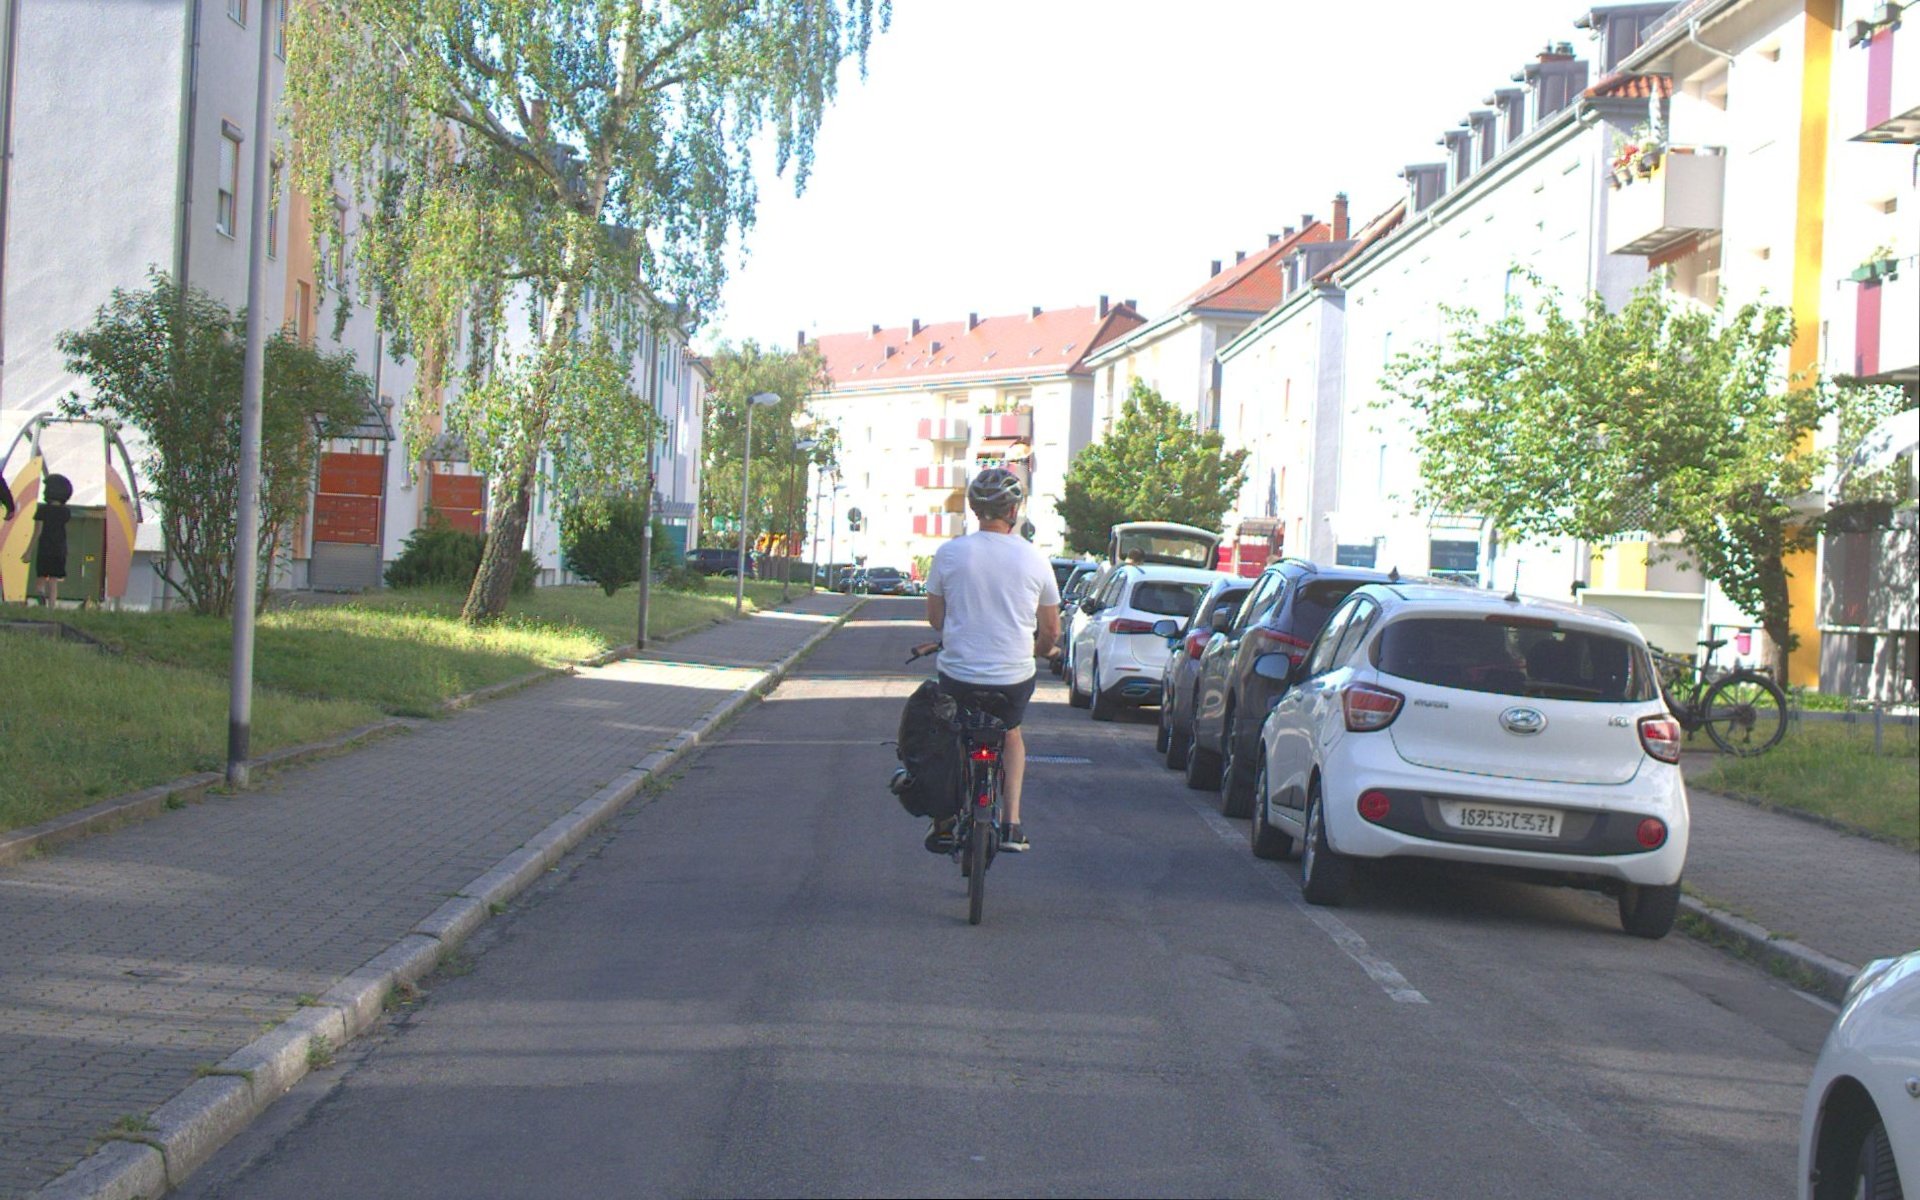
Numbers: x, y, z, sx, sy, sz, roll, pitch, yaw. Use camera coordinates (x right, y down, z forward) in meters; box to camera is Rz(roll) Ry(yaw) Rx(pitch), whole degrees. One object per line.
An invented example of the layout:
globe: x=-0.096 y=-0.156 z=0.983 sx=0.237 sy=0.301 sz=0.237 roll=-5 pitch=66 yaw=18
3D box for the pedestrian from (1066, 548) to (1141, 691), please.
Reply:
pedestrian: x=1.614 y=0.212 z=38.771 sx=0.739 sy=1.569 sz=0.880 roll=2 pitch=1 yaw=-1

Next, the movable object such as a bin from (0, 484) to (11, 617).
movable object such as a bin: x=-10.623 y=-0.545 z=35.973 sx=1.084 sy=1.401 sz=0.813 roll=3 pitch=1 yaw=0

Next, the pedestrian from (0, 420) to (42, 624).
pedestrian: x=-8.847 y=-0.715 z=31.126 sx=0.806 sy=1.817 sz=0.718 roll=2 pitch=0 yaw=0

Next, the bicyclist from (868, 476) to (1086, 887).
bicyclist: x=0.056 y=0.325 z=14.334 sx=0.808 sy=1.638 sz=0.899 roll=2 pitch=0 yaw=-3

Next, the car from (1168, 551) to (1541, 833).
car: x=2.406 y=0.502 z=21.995 sx=1.723 sy=1.573 sz=4.353 roll=2 pitch=1 yaw=-2

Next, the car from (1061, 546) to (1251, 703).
car: x=2.274 y=0.244 z=41.181 sx=1.994 sy=1.607 sz=4.995 roll=4 pitch=1 yaw=1

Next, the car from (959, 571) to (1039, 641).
car: x=1.003 y=0.133 z=90.312 sx=1.862 sy=1.662 sz=4.127 roll=5 pitch=0 yaw=-1

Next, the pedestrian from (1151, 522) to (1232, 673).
pedestrian: x=2.623 y=-0.036 z=38.983 sx=0.819 sy=1.681 sz=0.604 roll=1 pitch=1 yaw=-1

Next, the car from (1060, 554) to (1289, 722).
car: x=2.108 y=0.334 z=35.015 sx=1.772 sy=1.499 sz=4.481 roll=4 pitch=1 yaw=-3

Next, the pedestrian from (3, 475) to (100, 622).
pedestrian: x=-8.351 y=-0.468 z=31.615 sx=0.686 sy=1.312 sz=0.575 roll=2 pitch=0 yaw=0

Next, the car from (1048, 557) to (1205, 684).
car: x=2.195 y=0.238 z=46.260 sx=1.693 sy=1.486 sz=3.985 roll=5 pitch=1 yaw=-2

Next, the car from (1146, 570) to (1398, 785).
car: x=2.395 y=0.551 z=27.237 sx=1.647 sy=1.444 sz=4.060 roll=5 pitch=1 yaw=2

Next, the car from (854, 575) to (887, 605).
car: x=-4.219 y=-0.491 z=162.029 sx=1.469 sy=1.331 sz=3.141 roll=2 pitch=1 yaw=-3

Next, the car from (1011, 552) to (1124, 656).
car: x=1.868 y=0.041 z=60.911 sx=1.783 sy=1.642 sz=4.469 roll=4 pitch=1 yaw=0

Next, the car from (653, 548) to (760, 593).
car: x=-10.244 y=-1.210 z=138.884 sx=4.231 sy=1.633 sz=1.583 roll=2 pitch=1 yaw=-4

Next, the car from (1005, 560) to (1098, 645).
car: x=1.733 y=0.024 z=66.008 sx=1.641 sy=1.493 sz=4.156 roll=3 pitch=1 yaw=0

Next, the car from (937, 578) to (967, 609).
car: x=-0.410 y=-0.357 z=174.177 sx=1.381 sy=1.492 sz=3.077 roll=2 pitch=1 yaw=-3

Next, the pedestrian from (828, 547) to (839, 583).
pedestrian: x=-5.644 y=-1.570 z=153.683 sx=0.434 sy=1.569 sz=0.543 roll=2 pitch=1 yaw=-1

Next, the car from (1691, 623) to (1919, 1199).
car: x=2.398 y=0.849 z=4.852 sx=1.690 sy=1.413 sz=4.098 roll=5 pitch=1 yaw=-2

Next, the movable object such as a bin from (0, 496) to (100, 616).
movable object such as a bin: x=-11.063 y=-0.540 z=40.697 sx=1.387 sy=1.331 sz=1.228 roll=4 pitch=1 yaw=-1

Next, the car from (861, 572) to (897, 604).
car: x=-3.707 y=-0.535 z=157.355 sx=1.469 sy=1.331 sz=3.141 roll=4 pitch=1 yaw=-3

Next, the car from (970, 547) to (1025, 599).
car: x=1.358 y=-1.002 z=124.962 sx=1.674 sy=1.733 sz=3.943 roll=4 pitch=1 yaw=-3

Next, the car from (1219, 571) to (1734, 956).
car: x=2.394 y=0.696 z=16.882 sx=1.713 sy=1.504 sz=3.854 roll=6 pitch=1 yaw=-2

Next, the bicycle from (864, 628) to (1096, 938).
bicycle: x=0.049 y=0.713 z=14.283 sx=0.808 sy=1.124 sz=2.102 roll=2 pitch=1 yaw=-3

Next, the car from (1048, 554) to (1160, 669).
car: x=2.147 y=0.156 z=50.735 sx=1.480 sy=1.524 sz=2.940 roll=5 pitch=1 yaw=3

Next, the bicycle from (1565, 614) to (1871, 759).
bicycle: x=6.448 y=0.729 z=29.363 sx=2.424 sy=1.126 sz=0.879 roll=2 pitch=1 yaw=6
